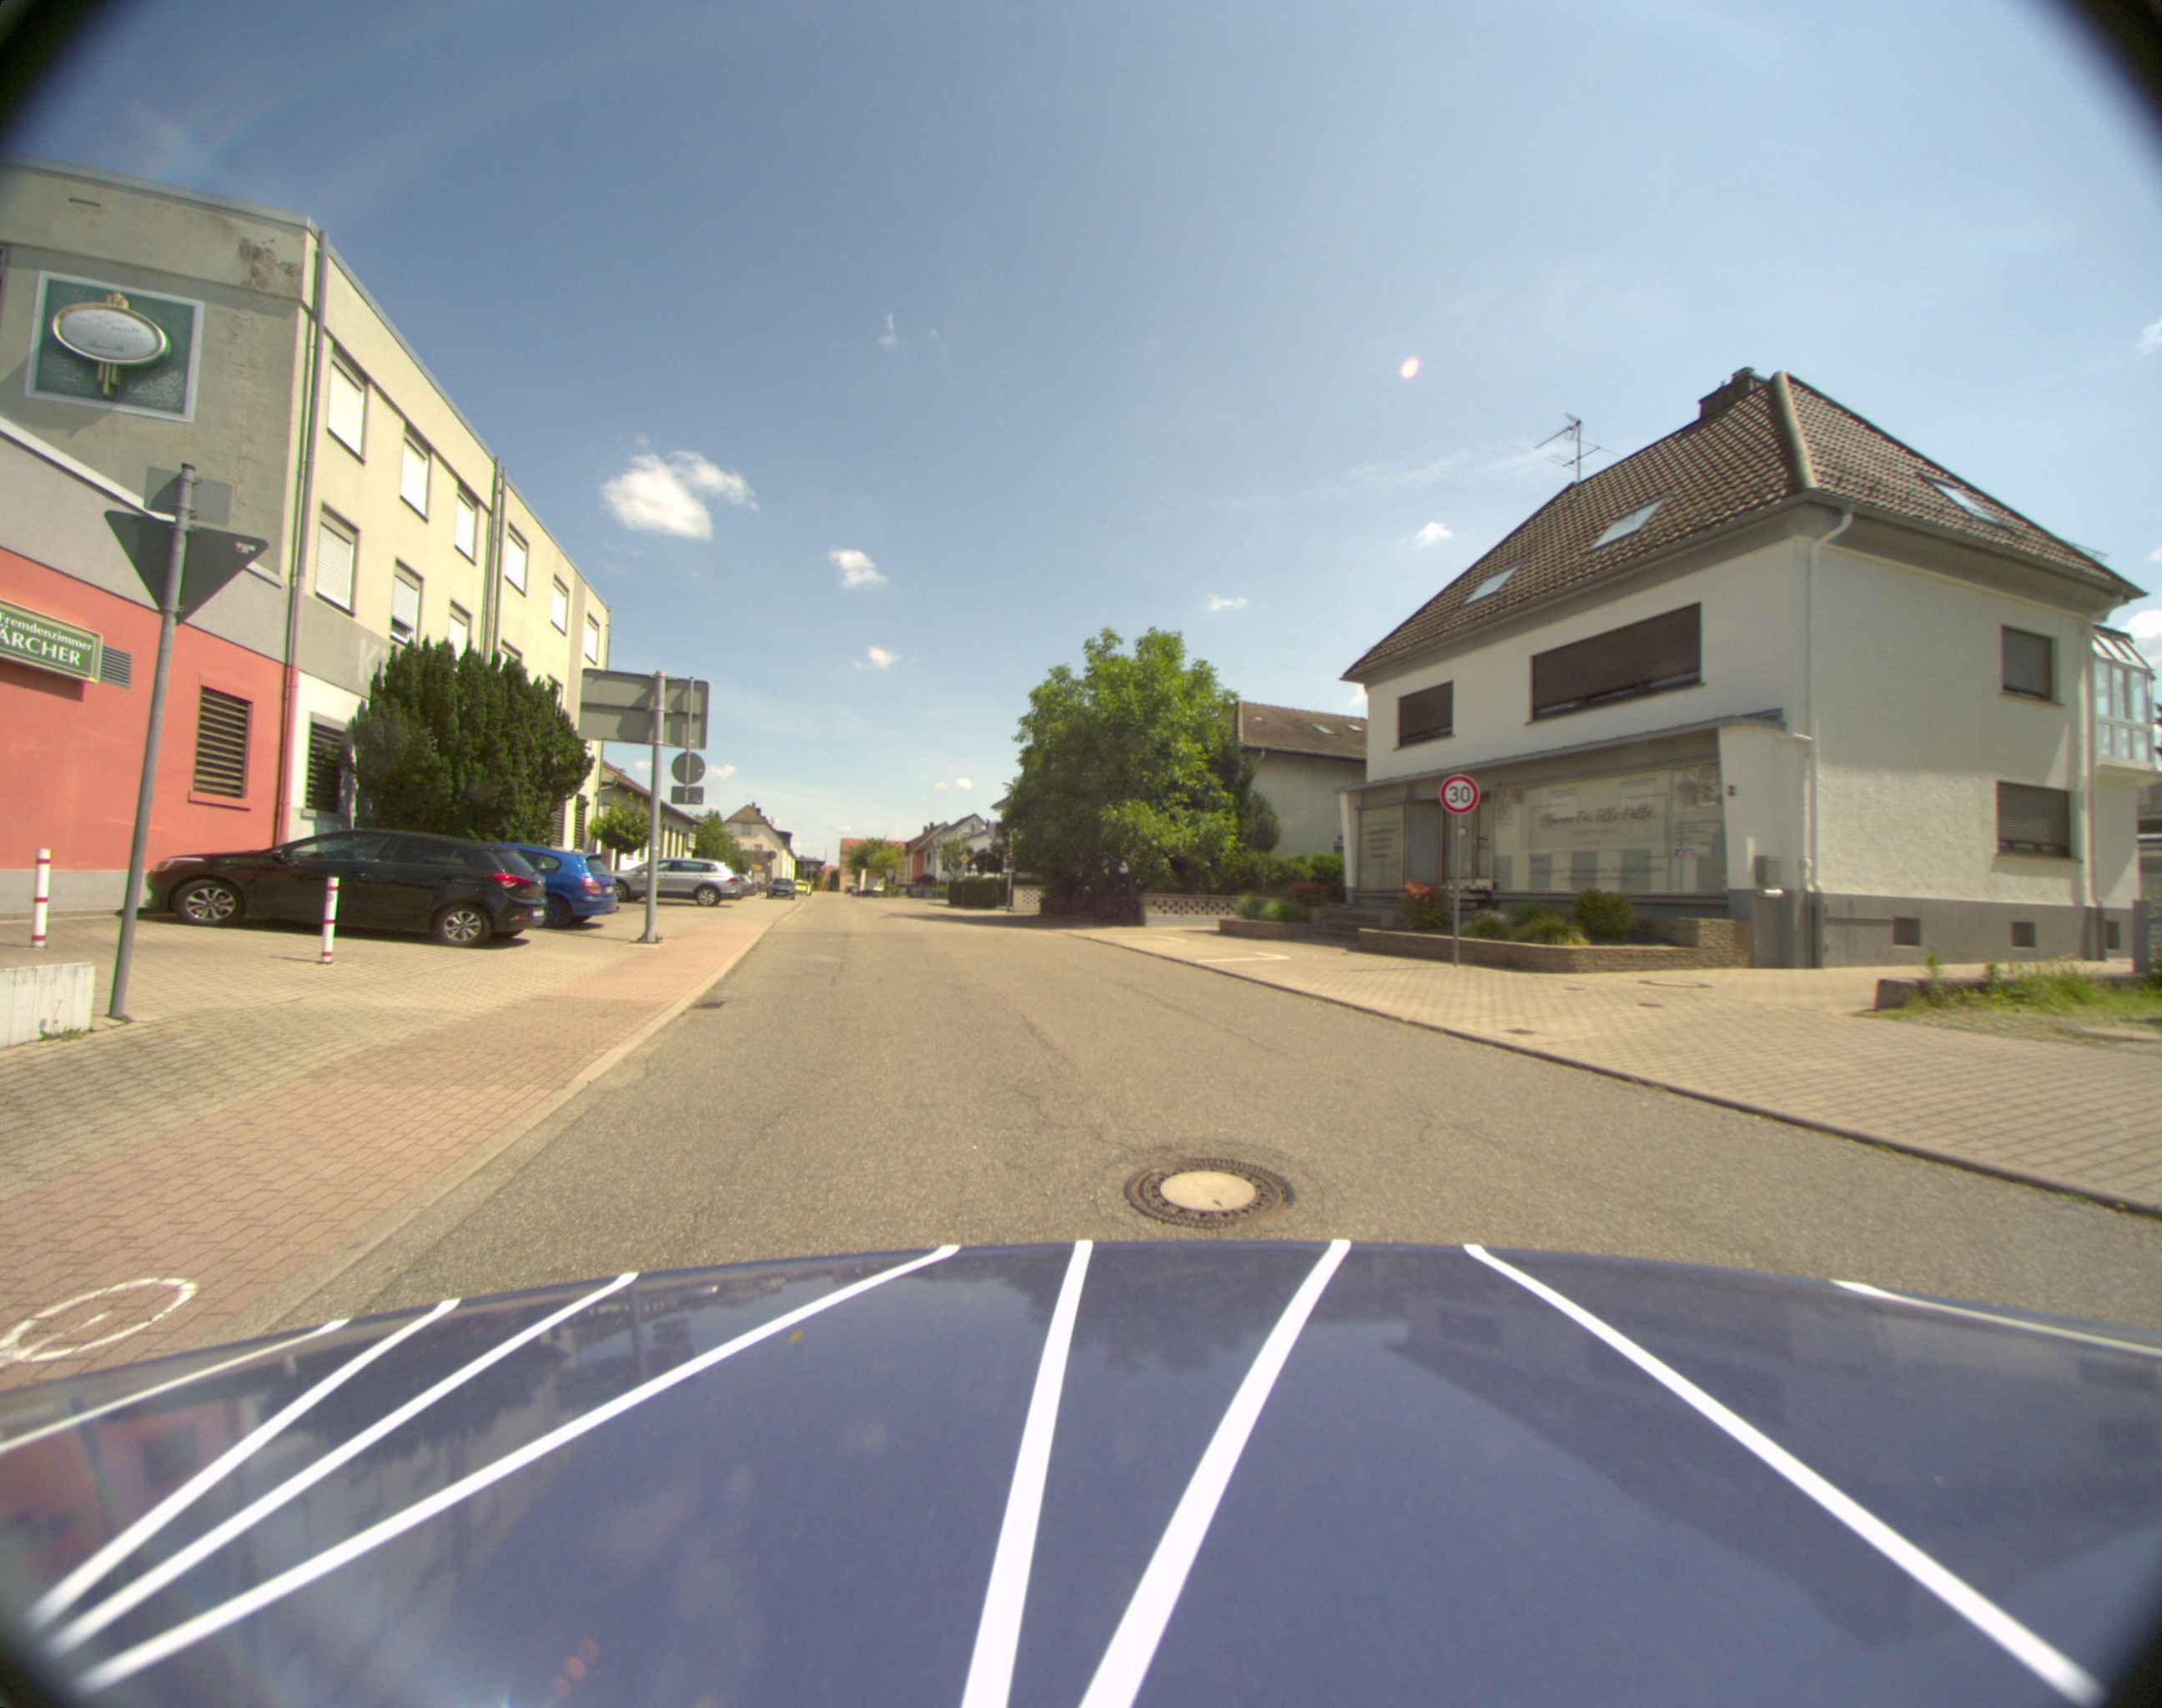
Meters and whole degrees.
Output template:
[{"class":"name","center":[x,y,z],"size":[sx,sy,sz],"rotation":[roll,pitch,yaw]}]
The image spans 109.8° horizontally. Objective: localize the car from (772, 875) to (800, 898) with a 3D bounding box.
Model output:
[{"class":"car","center":[-20.312,2.227,52.392],"size":[1.635,1.479,4.134],"rotation":[3,-3,-20]}]

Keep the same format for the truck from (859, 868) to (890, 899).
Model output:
[{"class":"truck","center":[-23.889,3.401,87.797],"size":[2.449,3.225,7.026],"rotation":[6,-4,-21]}]

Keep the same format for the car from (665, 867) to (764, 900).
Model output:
[{"class":"car","center":[-19.708,1.620,41.112],"size":[4.546,1.445,1.915],"rotation":[4,-3,-19]}]

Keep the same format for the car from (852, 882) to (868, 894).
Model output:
[{"class":"car","center":[-30.964,4.762,106.500],"size":[1.724,1.490,4.209],"rotation":[5,-4,-19]}]

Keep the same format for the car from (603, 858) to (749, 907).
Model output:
[{"class":"car","center":[-15.137,1.093,28.715],"size":[4.520,1.510,1.997],"rotation":[5,-3,-19]}]

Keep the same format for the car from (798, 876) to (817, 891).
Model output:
[{"class":"car","center":[-29.040,3.145,80.805],"size":[1.724,1.389,4.210],"rotation":[7,-4,-18]}]

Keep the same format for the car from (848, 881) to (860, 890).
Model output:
[{"class":"car","center":[-40.520,5.598,135.557],"size":[1.724,1.490,4.209],"rotation":[5,-4,-19]}]

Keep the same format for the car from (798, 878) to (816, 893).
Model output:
[{"class":"car","center":[-30.710,3.545,85.206],"size":[1.724,1.490,4.210],"rotation":[7,-4,-18]}]

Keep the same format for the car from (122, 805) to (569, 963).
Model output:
[{"class":"car","center":[-9.772,0.455,10.571],"size":[3.914,1.480,1.807],"rotation":[9,-3,-20]}]

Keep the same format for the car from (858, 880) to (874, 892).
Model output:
[{"class":"car","center":[-28.559,4.206,100.809],"size":[1.724,1.490,4.209],"rotation":[5,-4,-19]}]

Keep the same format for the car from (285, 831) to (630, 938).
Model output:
[{"class":"car","center":[-10.845,0.557,13.651],"size":[4.342,1.431,1.776],"rotation":[6,-1,-19]}]

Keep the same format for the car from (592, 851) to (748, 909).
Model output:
[{"class":"car","center":[-14.239,0.942,26.626],"size":[4.473,1.686,1.920],"rotation":[5,-3,-21]}]
